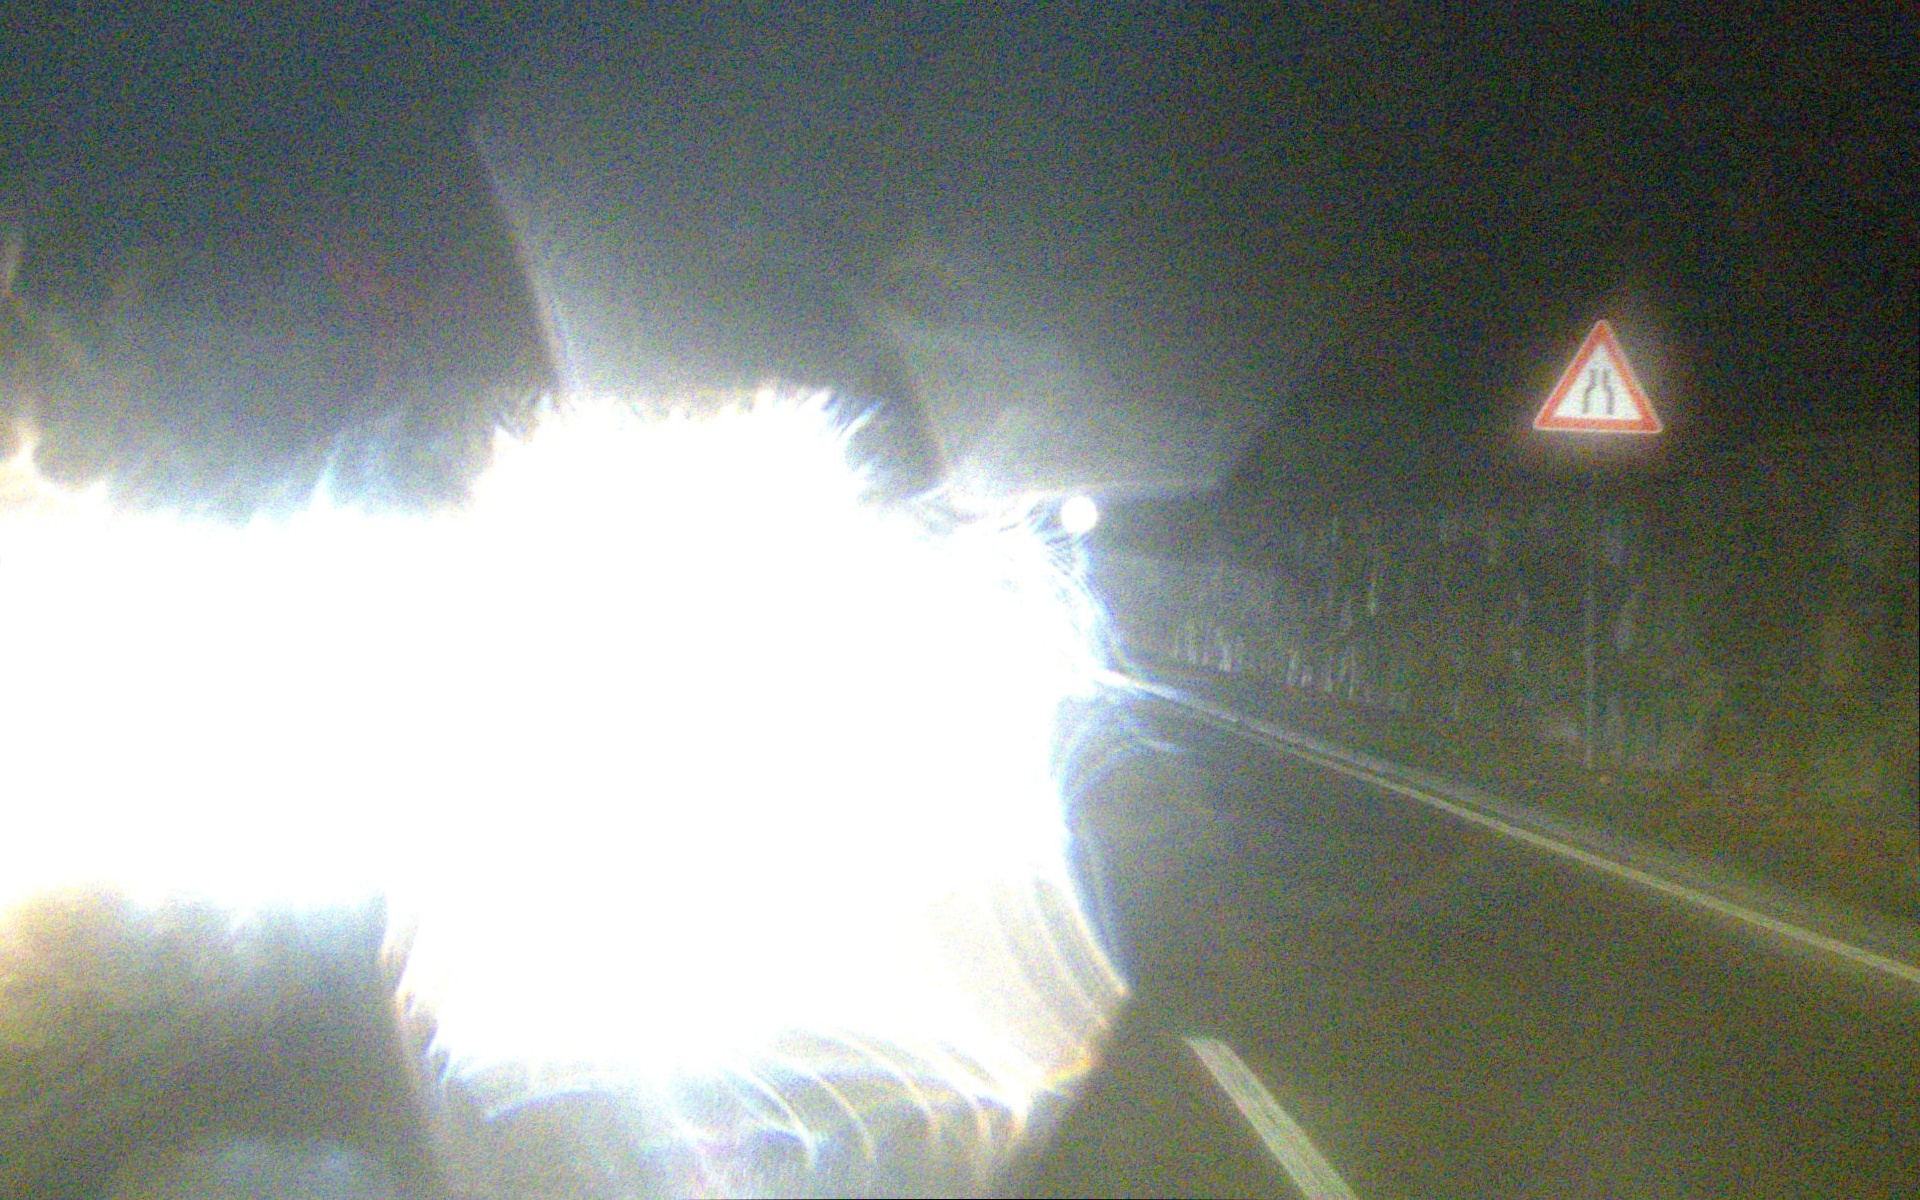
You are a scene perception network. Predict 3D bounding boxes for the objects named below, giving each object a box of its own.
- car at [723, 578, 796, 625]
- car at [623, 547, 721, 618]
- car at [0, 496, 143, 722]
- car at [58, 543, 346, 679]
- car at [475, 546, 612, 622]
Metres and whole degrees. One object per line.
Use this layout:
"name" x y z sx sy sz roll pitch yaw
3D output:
"car" -7.119 0.031 122.525 2.110 1.570 4.679 1 1 2
"car" -7.884 -0.505 94.397 1.994 1.858 5.319 0 1 3
"car" -9.526 0.035 32.779 2.154 2.007 4.995 1 1 1
"car" -9.236 0.091 42.363 2.182 1.553 5.203 0 1 3
"car" -8.800 -0.360 72.975 2.083 1.537 4.898 0 1 3
